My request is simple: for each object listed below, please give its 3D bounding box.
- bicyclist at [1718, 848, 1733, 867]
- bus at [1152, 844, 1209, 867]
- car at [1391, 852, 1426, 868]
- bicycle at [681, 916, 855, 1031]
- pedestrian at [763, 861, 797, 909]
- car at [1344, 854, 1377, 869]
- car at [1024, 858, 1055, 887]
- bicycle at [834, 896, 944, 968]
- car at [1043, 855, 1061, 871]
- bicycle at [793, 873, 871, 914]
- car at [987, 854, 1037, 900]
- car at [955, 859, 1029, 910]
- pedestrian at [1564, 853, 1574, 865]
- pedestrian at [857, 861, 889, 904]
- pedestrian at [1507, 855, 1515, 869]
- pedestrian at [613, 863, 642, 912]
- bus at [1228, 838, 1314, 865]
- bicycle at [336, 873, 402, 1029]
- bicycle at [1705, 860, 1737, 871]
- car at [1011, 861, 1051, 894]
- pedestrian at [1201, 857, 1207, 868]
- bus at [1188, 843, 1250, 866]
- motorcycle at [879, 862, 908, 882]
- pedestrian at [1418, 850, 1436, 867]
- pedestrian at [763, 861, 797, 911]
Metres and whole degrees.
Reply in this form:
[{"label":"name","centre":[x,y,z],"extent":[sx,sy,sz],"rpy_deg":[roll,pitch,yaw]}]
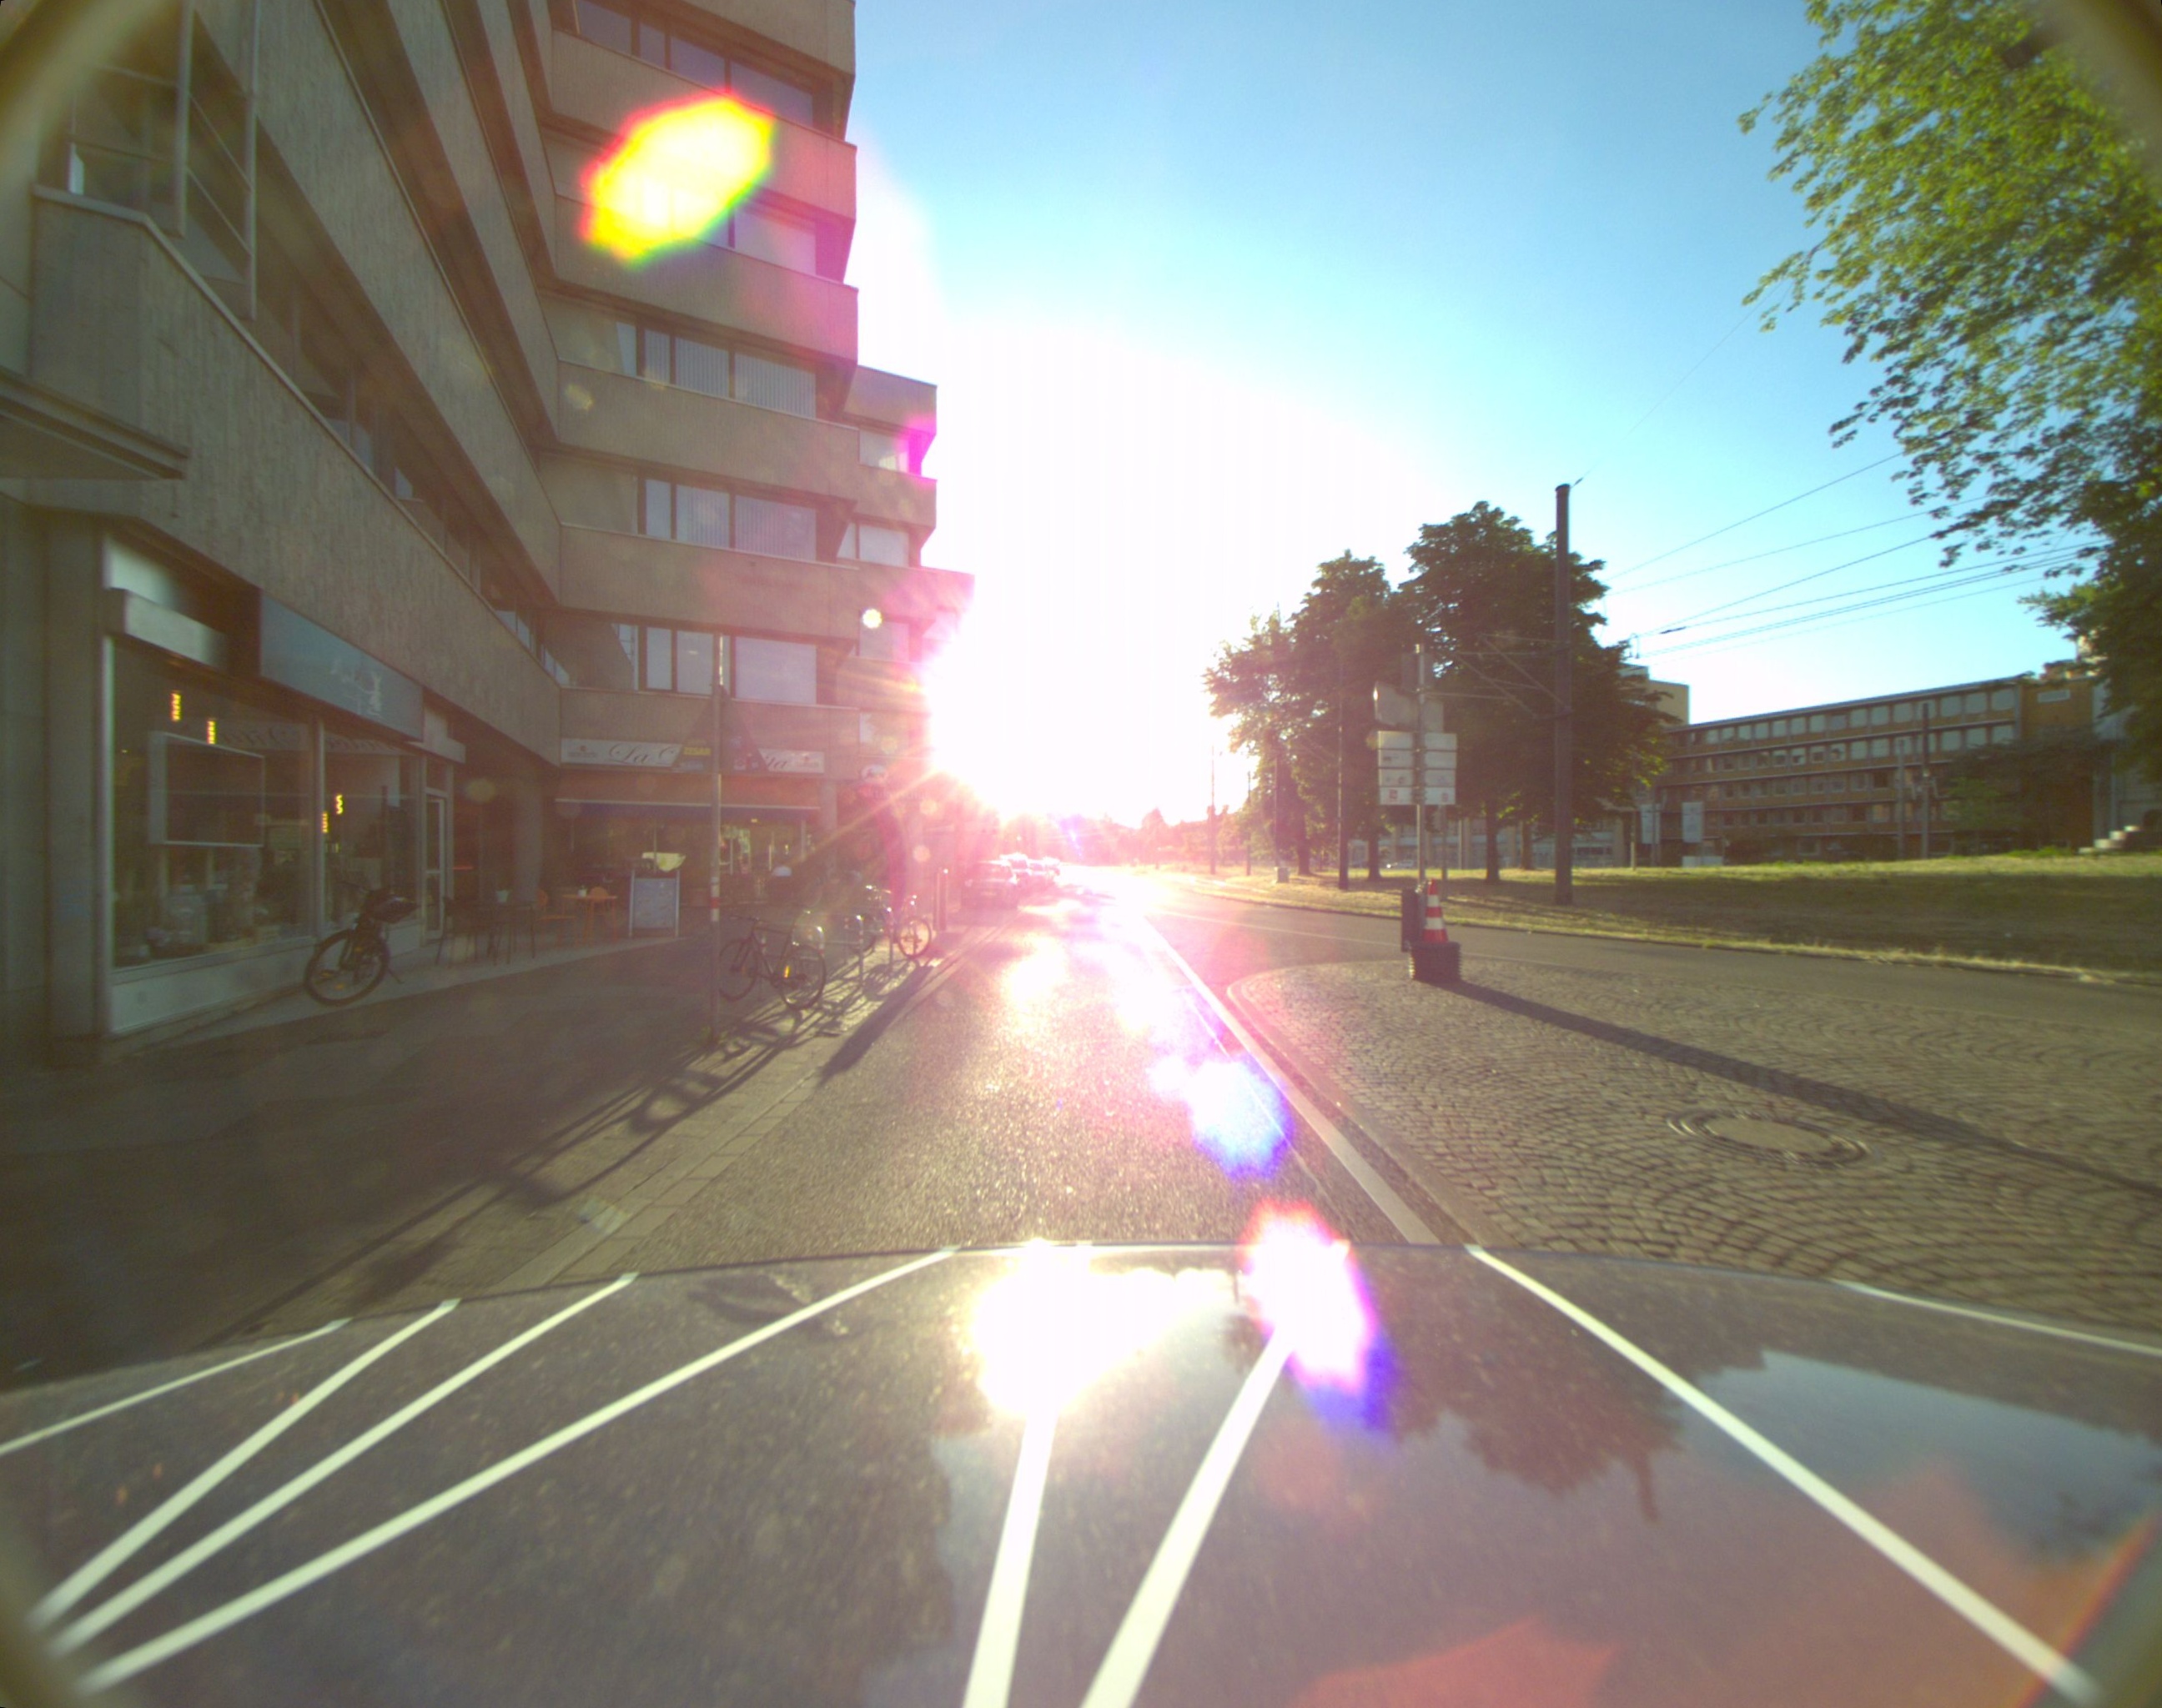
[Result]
[{"label":"bicyclist","centre":[58.039,0.273,68.433],"extent":[0.955,1.681,0.895],"rpy_deg":[-1,1,-44]},{"label":"bus","centre":[16.418,0.336,126.934],"extent":[3.765,3.435,12.110],"rpy_deg":[-1,-1,-23]},{"label":"car","centre":[42.931,0.847,99.691],"extent":[1.858,2.002,3.902],"rpy_deg":[-1,0,-30]},{"label":"bicycle","centre":[-3.286,1.205,7.952],"extent":[1.789,0.984,0.543],"rpy_deg":[2,-1,23]},{"label":"pedestrian","centre":[-8.163,0.838,20.633],"extent":[0.706,1.270,0.537],"rpy_deg":[0,0,0]},{"label":"car","centre":[39.459,1.030,107.301],"extent":[1.914,2.002,3.991],"rpy_deg":[-1,0,-30]},{"label":"car","centre":[-2.377,1.051,44.305],"extent":[1.589,1.581,3.668],"rpy_deg":[-2,0,-1]},{"label":"bicycle","centre":[-3.043,1.198,11.970],"extent":[1.788,0.984,0.543],"rpy_deg":[1,-2,32]},{"label":"car","centre":[-2.816,0.859,74.591],"extent":[1.655,1.525,4.066],"rpy_deg":[-2,-1,-1]},{"label":"bicycle","centre":[-6.530,1.030,19.989],"extent":[1.896,0.999,0.457],"rpy_deg":[2,0,-38]},{"label":"car","centre":[-2.887,0.938,32.767],"extent":[1.788,1.794,4.401],"rpy_deg":[-2,0,-1]},{"label":"car","centre":[-2.796,0.931,24.607],"extent":[1.794,1.498,3.921],"rpy_deg":[-2,0,2]},{"label":"pedestrian","centre":[53.792,0.593,83.776],"extent":[0.568,1.316,0.682],"rpy_deg":[-1,0,-25]},{"label":"pedestrian","centre":[-6.421,0.864,23.421],"extent":[0.764,1.290,0.708],"rpy_deg":[0,0,-34]},{"label":"pedestrian","centre":[51.022,0.990,90.220],"extent":[0.532,1.682,0.617],"rpy_deg":[-2,0,-17]},{"label":"pedestrian","centre":[-11.532,0.845,19.323],"extent":[0.559,1.232,0.613],"rpy_deg":[0,-1,-25]},{"label":"bus","centre":[26.057,-0.198,105.385],"extent":[3.765,3.342,13.688],"rpy_deg":[-1,-1,-24]},{"label":"bicycle","centre":[-6.939,0.875,7.432],"extent":[0.416,1.269,1.659],"rpy_deg":[-1,3,-42]},{"label":"bicycle","centre":[57.819,1.008,68.656],"extent":[2.195,1.005,0.473],"rpy_deg":[0,1,44]},{"label":"car","centre":[-2.466,1.122,38.098],"extent":[1.645,1.519,4.001],"rpy_deg":[-2,0,1]},{"label":"pedestrian","centre":[15.980,1.086,98.756],"extent":[0.672,1.450,0.699],"rpy_deg":[-2,0,-4]},{"label":"bus","centre":[20.992,0.118,116.459],"extent":[3.765,3.311,10.716],"rpy_deg":[-1,-1,-24]},{"label":"motorcycle","centre":[-12.457,1.210,50.497],"extent":[1.793,1.285,0.670],"rpy_deg":[0,0,16]},{"label":"pedestrian","centre":[42.882,0.526,94.165],"extent":[1.061,2.082,1.630],"rpy_deg":[-1,0,-32]},{"label":"pedestrian","centre":[-7.885,0.834,19.924],"extent":[0.642,1.288,0.706],"rpy_deg":[1,-1,-8]}]
